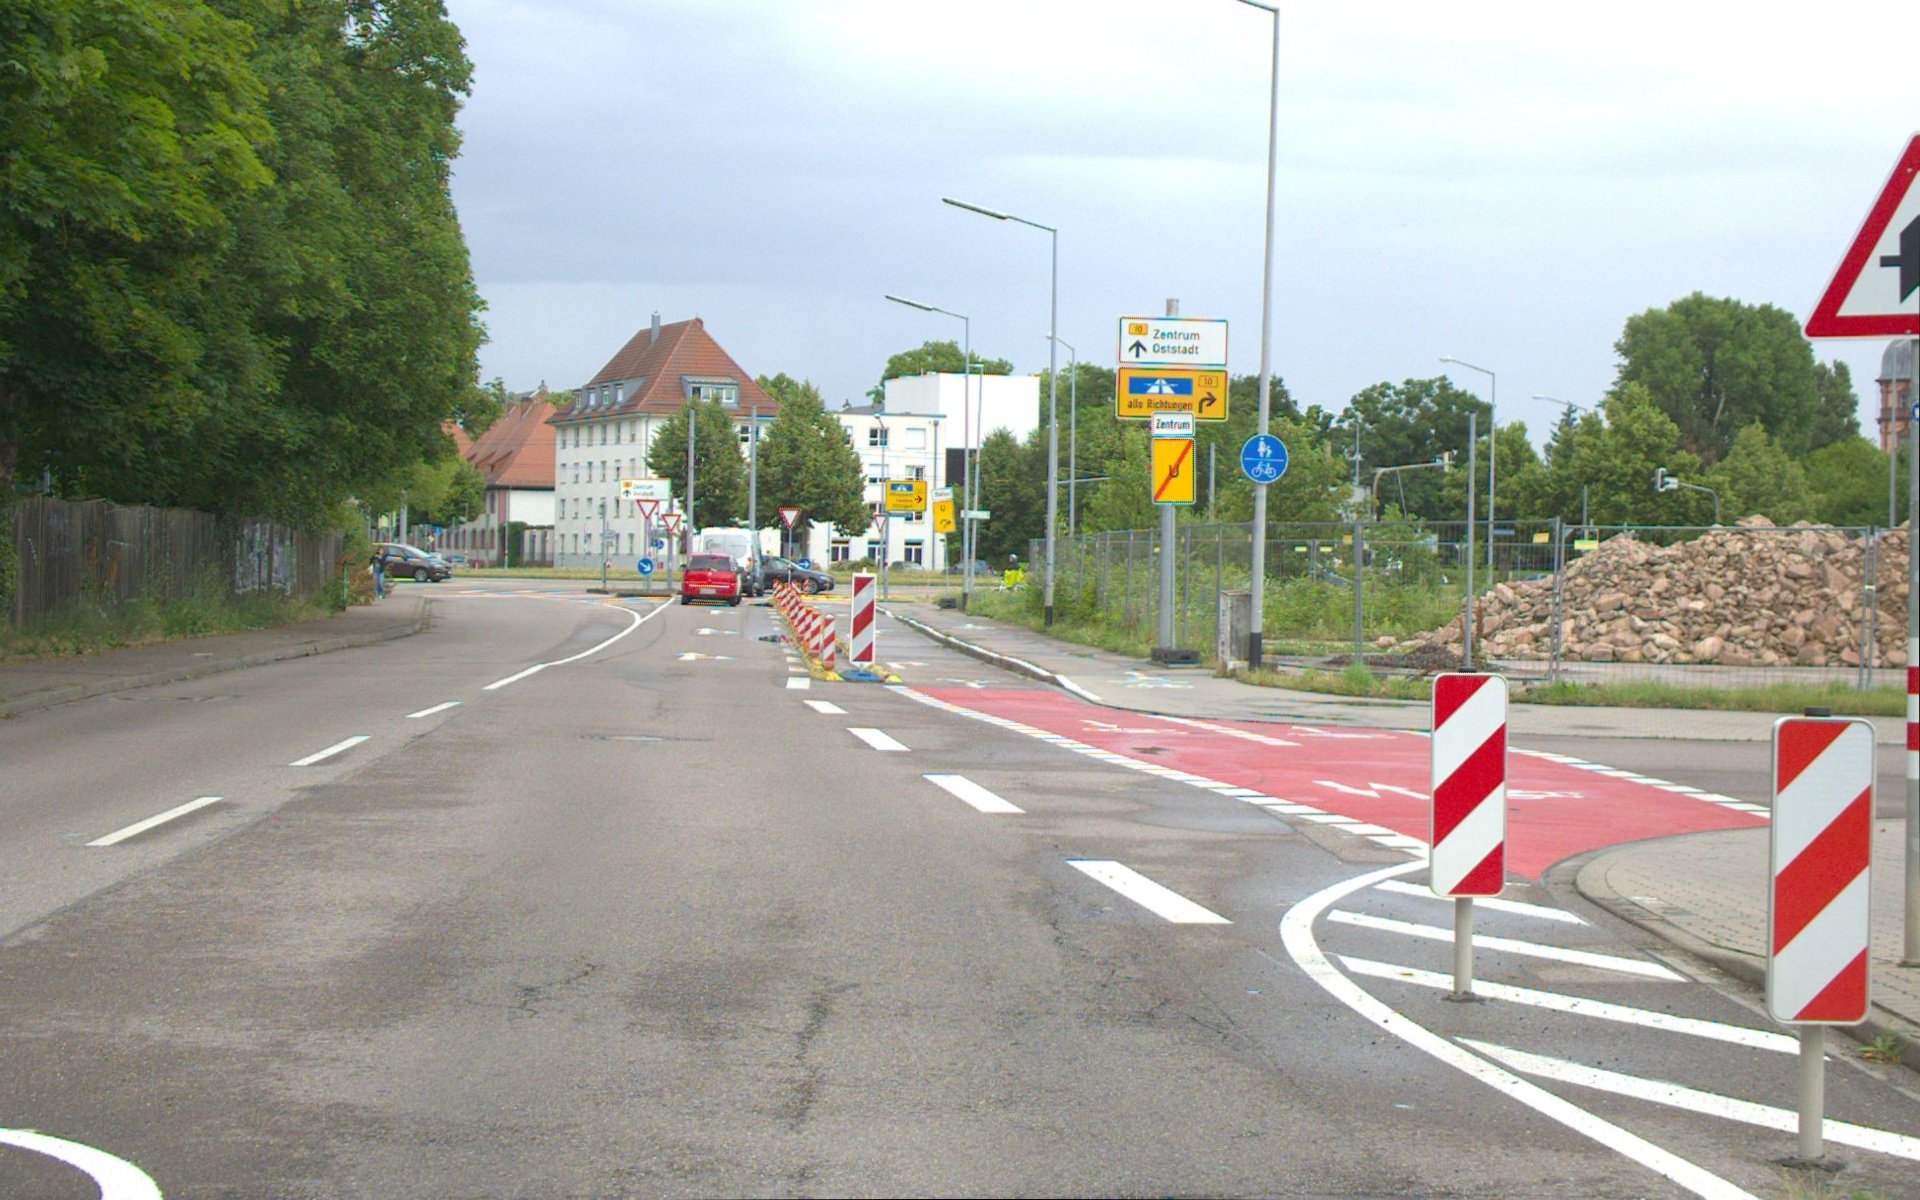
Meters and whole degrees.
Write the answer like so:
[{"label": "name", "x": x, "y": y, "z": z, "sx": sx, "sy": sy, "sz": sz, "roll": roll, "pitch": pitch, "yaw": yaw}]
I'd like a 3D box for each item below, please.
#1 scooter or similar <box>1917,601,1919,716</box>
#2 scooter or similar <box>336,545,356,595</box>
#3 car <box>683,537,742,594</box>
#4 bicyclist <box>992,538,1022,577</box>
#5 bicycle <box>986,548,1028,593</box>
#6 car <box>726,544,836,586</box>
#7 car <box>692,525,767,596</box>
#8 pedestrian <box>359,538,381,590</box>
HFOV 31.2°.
[{"label": "scooter or similar", "x": 10.490, "y": 0.613, "z": 35.058, "sx": 1.325, "sy": 1.181, "sz": 0.445, "roll": 1, "pitch": 1, "yaw": 37}, {"label": "scooter or similar", "x": -14.537, "y": -0.726, "z": 81.444, "sx": 0.422, "sy": 1.166, "sz": 1.304, "roll": 1, "pitch": 1, "yaw": -9}, {"label": "car", "x": -7.522, "y": -1.064, "z": 104.765, "sx": 1.673, "sy": 1.635, "sz": 3.628, "roll": 2, "pitch": 1, "yaw": -3}, {"label": "bicyclist", "x": 1.702, "y": -1.546, "z": 124.400, "sx": 1.061, "sy": 1.396, "sz": 0.615, "roll": 1, "pitch": 1, "yaw": 0}, {"label": "bicycle", "x": 1.699, "y": -1.054, "z": 124.401, "sx": 1.477, "sy": 1.606, "sz": 0.606, "roll": 1, "pitch": 1, "yaw": 0}, {"label": "car", "x": -7.880, "y": -1.549, "z": 151.214, "sx": 4.604, "sy": 1.789, "sz": 2.111, "roll": 2, "pitch": 1, "yaw": 39}, {"label": "car", "x": -8.578, "y": -1.469, "z": 128.321, "sx": 2.195, "sy": 2.531, "sz": 4.962, "roll": 2, "pitch": 1, "yaw": 2}, {"label": "pedestrian", "x": -17.293, "y": -1.060, "z": 100.764, "sx": 0.612, "sy": 1.524, "sz": 0.724, "roll": 1, "pitch": 1, "yaw": -8}]
